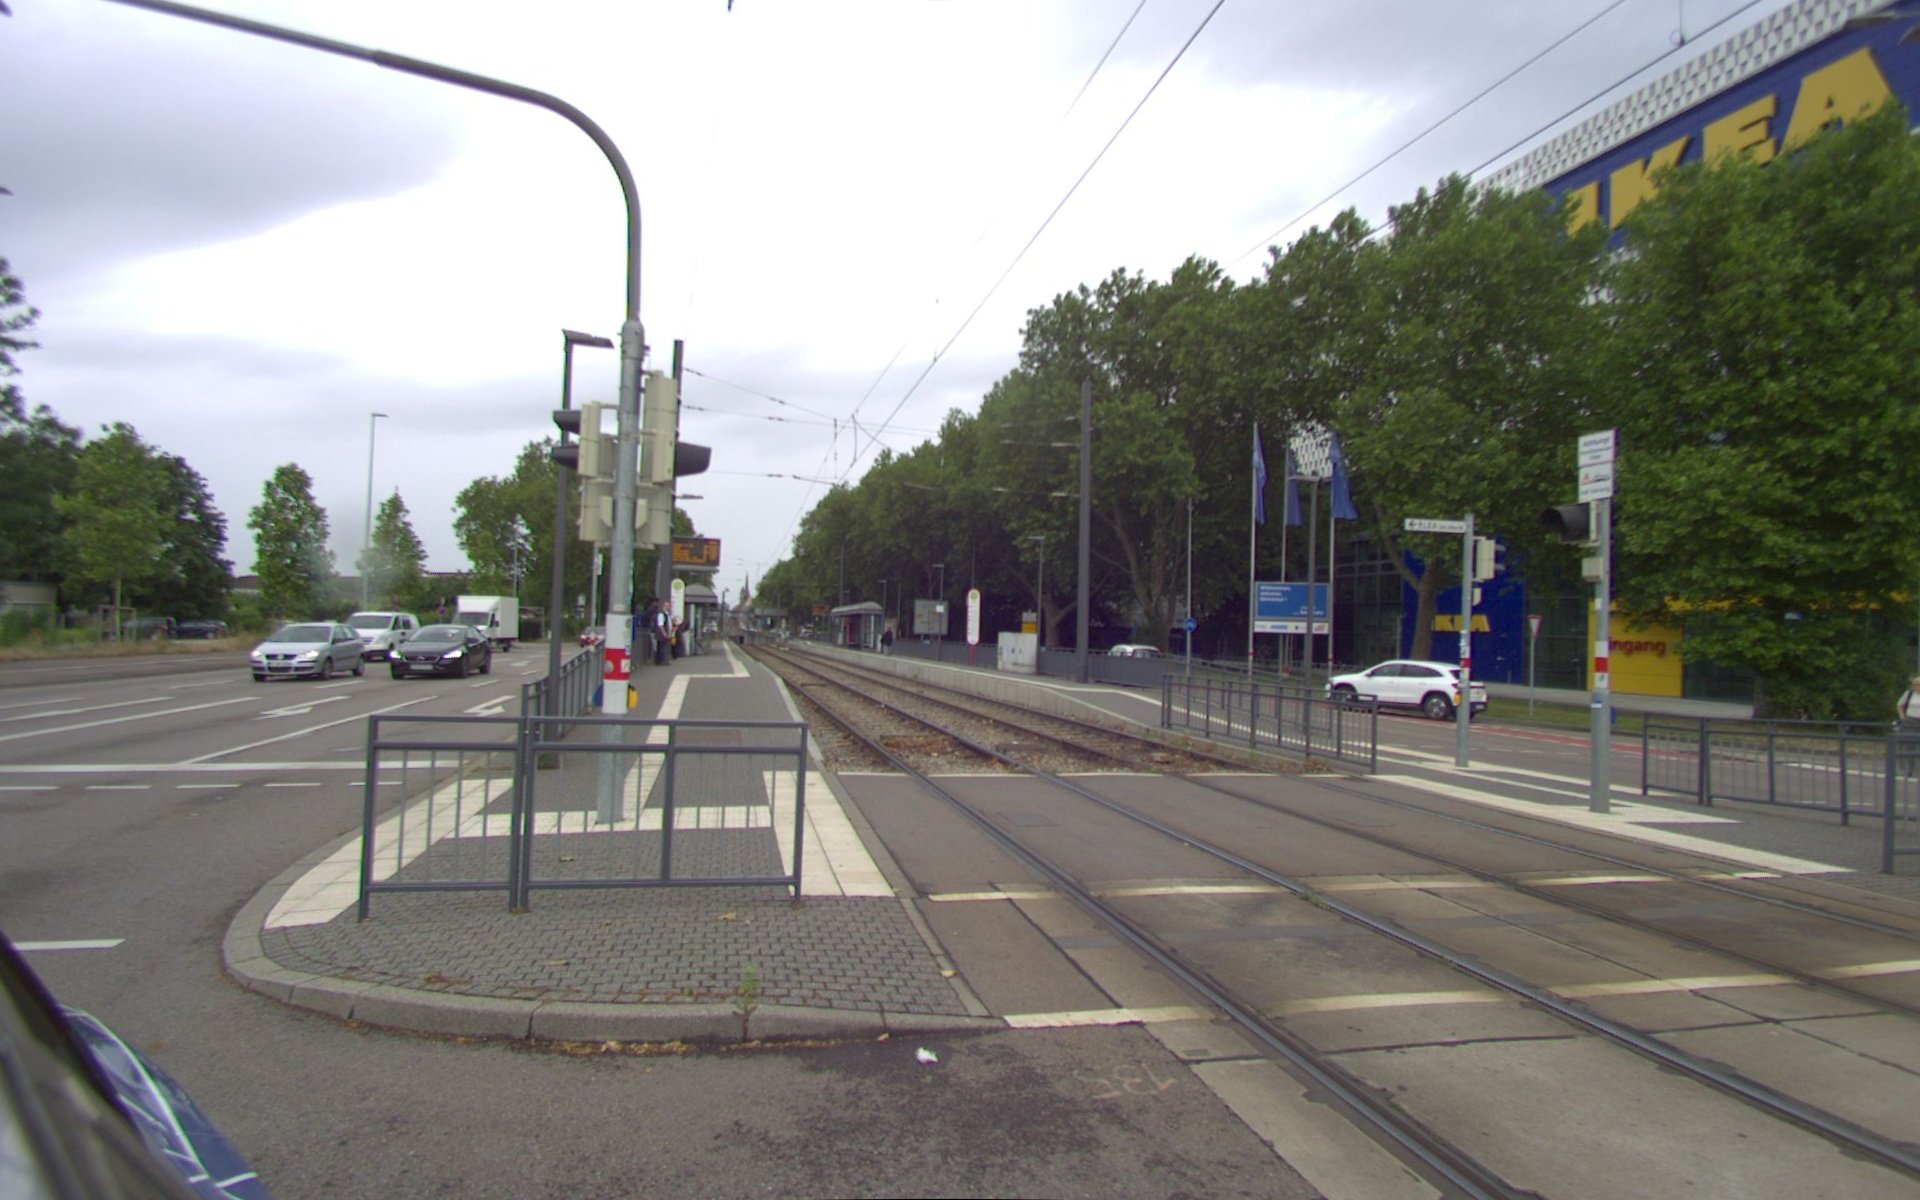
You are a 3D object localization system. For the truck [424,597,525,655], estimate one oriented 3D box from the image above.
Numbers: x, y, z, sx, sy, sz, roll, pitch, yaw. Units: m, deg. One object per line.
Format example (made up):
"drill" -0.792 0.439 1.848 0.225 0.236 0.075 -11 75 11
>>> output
"truck" -26.098 1.440 54.757 2.785 2.946 6.552 1 -2 -6

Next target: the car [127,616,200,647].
"car" -56.325 2.285 71.661 2.154 2.029 4.569 4 -3 -13

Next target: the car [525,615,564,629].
"car" -47.564 2.498 115.905 3.931 1.519 1.816 1 -1 -17

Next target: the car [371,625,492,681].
"car" -14.400 1.423 27.860 1.966 1.401 4.355 1 -2 -14

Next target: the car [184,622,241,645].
"car" -58.734 2.661 79.595 2.088 1.709 4.664 1 -3 -16

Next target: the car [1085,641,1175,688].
"car" 6.798 2.559 40.883 1.767 1.597 4.155 5 -2 -18

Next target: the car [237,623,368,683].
"car" -16.980 1.356 26.328 1.655 1.430 3.860 1 -2 -14

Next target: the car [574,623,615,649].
"car" -25.482 2.491 70.654 1.864 1.696 4.007 1 -1 -8

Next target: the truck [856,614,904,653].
"truck" -8.463 3.518 105.660 3.208 3.691 9.922 5 -3 -14

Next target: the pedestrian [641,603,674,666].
"pedestrian" -7.686 0.874 25.722 0.699 1.572 0.634 1 -1 -10

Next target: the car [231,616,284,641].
"car" -61.606 2.517 88.800 2.279 2.029 4.570 1 -3 -14

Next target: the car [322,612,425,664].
"car" -22.897 1.503 39.725 2.066 1.894 5.133 1 -2 -13

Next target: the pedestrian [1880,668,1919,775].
"pedestrian" 16.884 2.144 17.819 0.753 1.811 0.677 5 -2 -15

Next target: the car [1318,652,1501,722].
"car" 12.901 2.465 29.251 1.864 1.597 4.417 6 -3 -41

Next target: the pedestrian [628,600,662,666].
"pedestrian" -8.604 0.896 27.644 0.775 1.755 0.588 1 -1 -9
